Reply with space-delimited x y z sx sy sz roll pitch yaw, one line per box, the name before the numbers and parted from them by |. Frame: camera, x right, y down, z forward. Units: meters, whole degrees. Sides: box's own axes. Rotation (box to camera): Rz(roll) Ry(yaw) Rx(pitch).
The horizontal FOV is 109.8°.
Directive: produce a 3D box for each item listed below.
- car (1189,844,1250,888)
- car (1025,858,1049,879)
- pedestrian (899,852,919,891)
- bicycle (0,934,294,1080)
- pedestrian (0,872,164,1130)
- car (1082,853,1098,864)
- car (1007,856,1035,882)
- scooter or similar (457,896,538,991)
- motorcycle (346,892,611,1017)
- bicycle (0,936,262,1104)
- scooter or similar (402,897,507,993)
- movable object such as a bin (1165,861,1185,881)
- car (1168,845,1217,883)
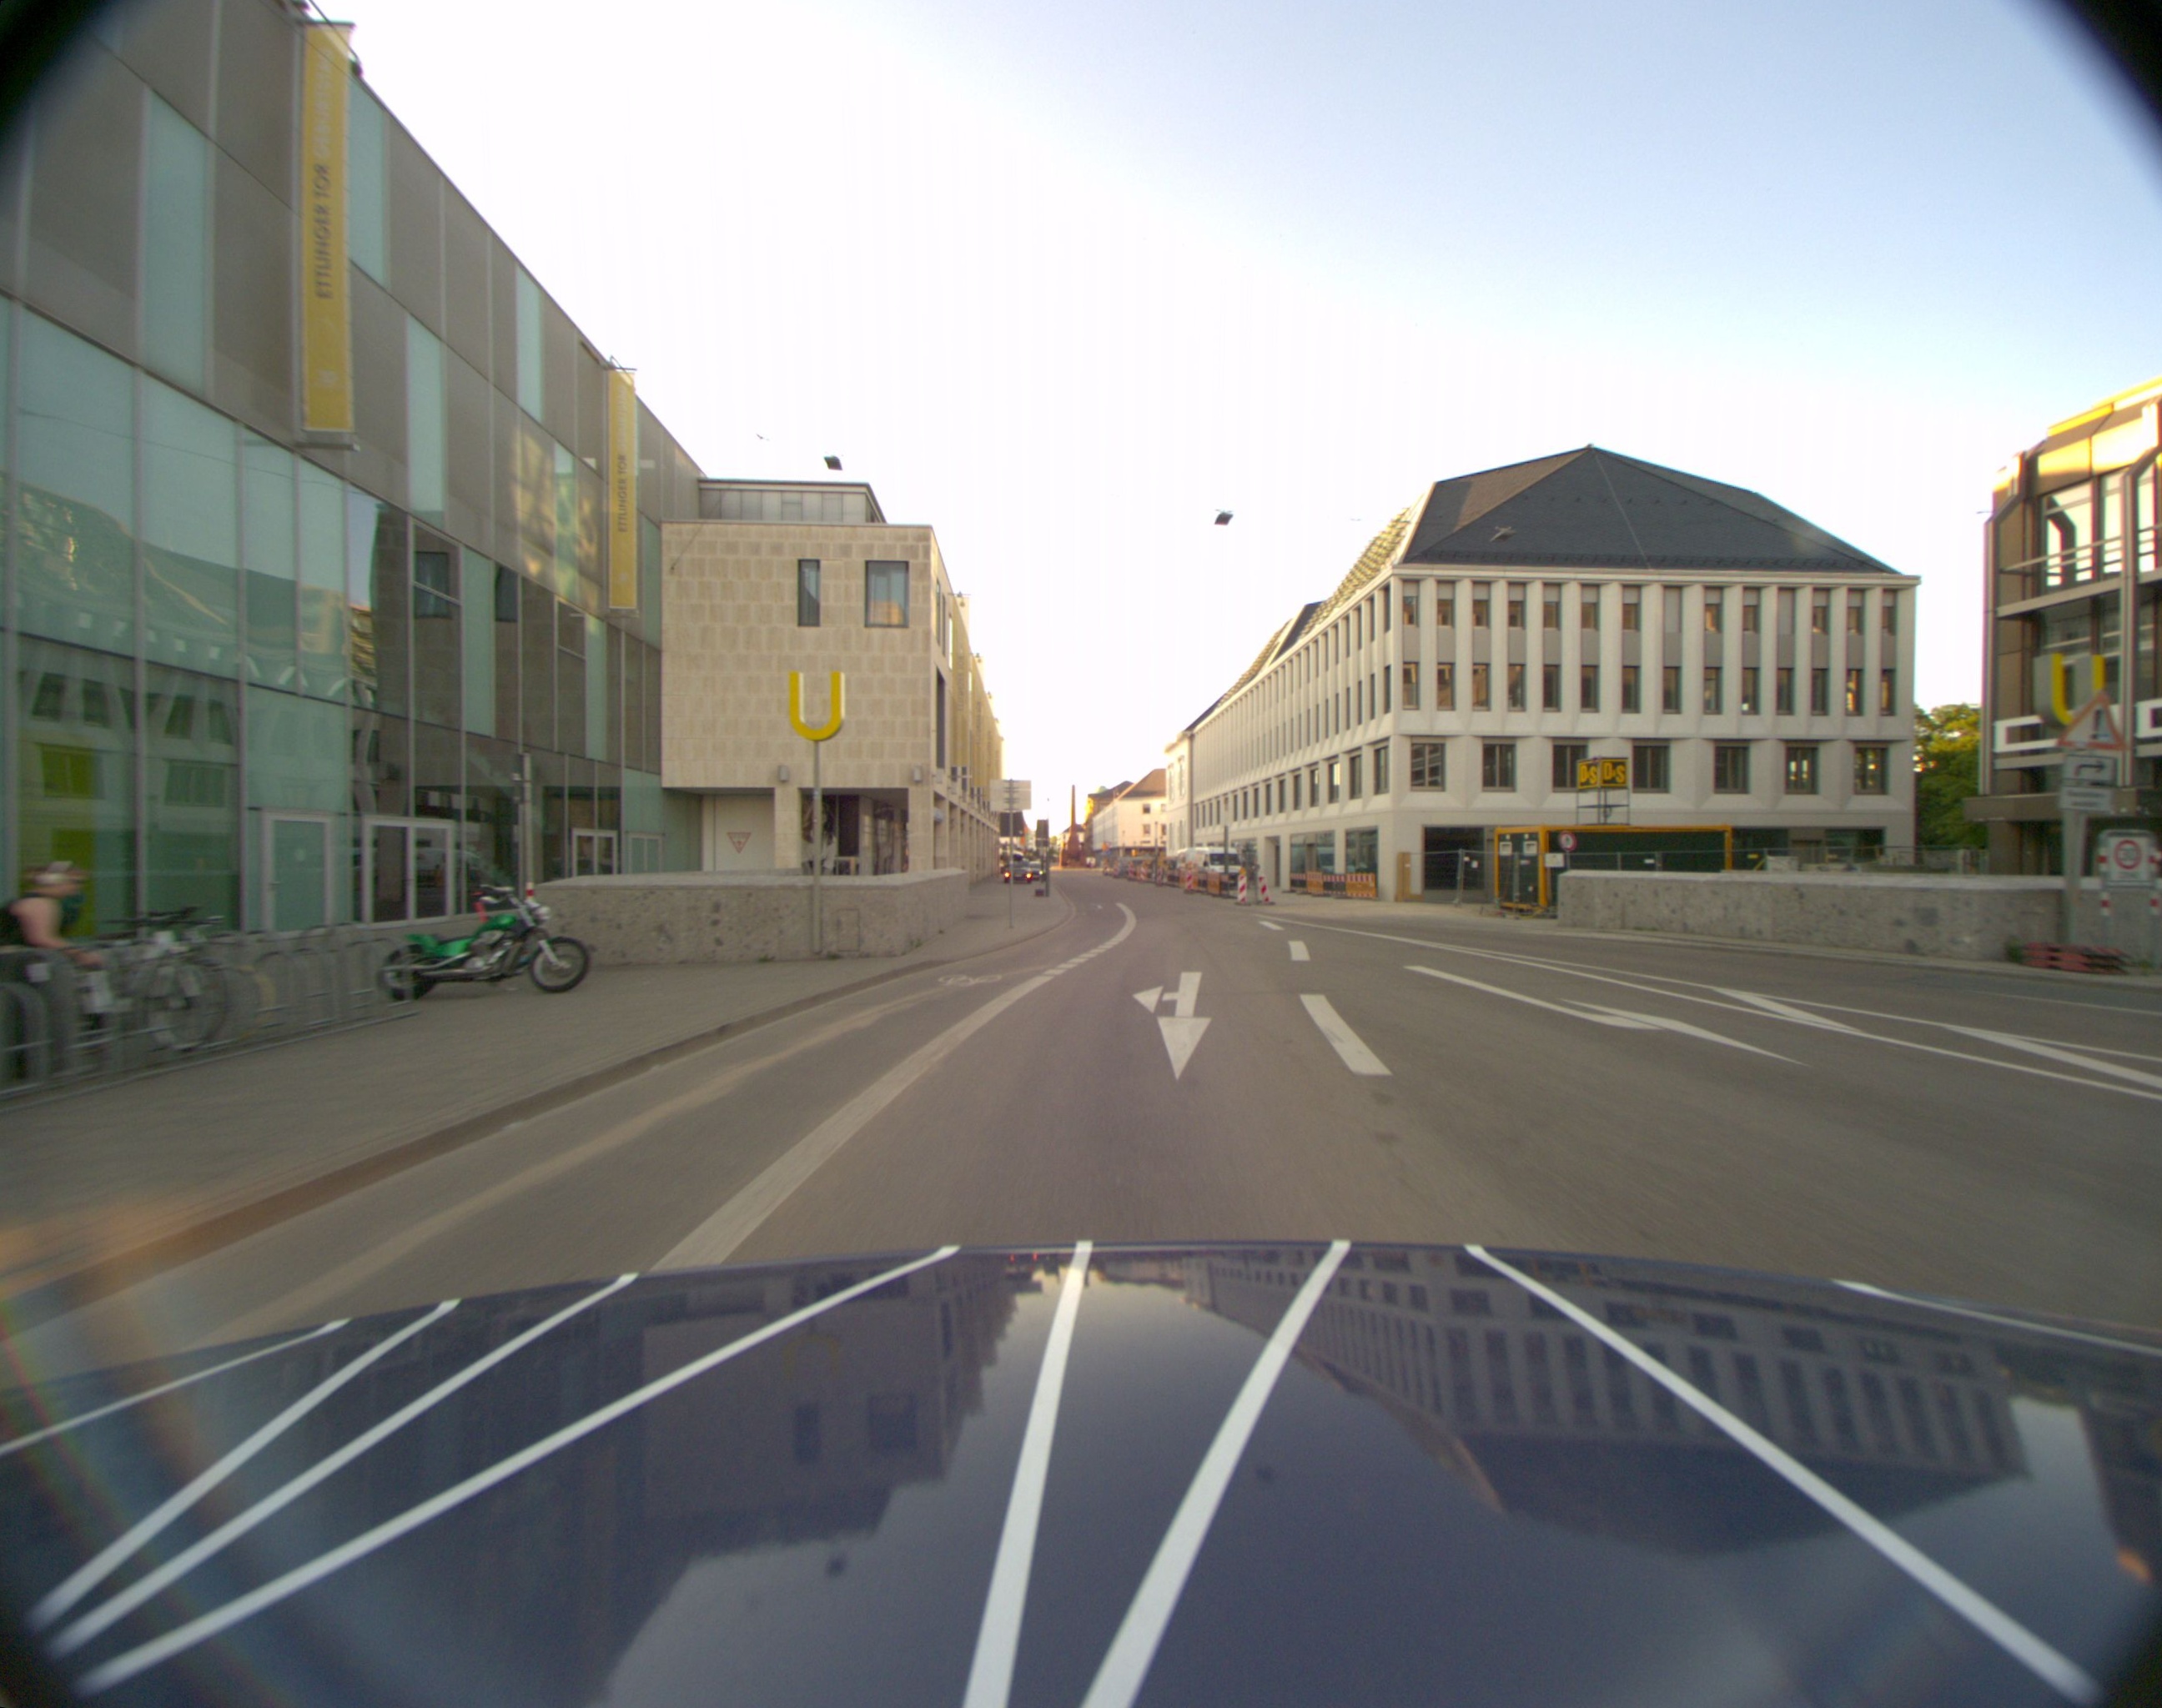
car | 8.077 0.657 45.010 2.180 2.456 5.997 0 0 -4
car | -3.583 1.138 61.387 1.800 1.481 4.191 3 0 -3
pedestrian | -6.931 0.703 30.661 0.635 1.533 0.775 0 1 -4
bicycle | -7.930 1.274 6.447 1.992 1.123 0.516 0 0 2
pedestrian | -7.633 1.003 5.566 0.837 1.725 0.819 0 0 4
car | 1.611 0.804 135.237 2.022 1.815 4.456 0 0 -10
car | -4.149 0.997 52.876 1.773 1.628 4.056 3 0 -3
scooter or similar | -8.286 1.248 10.820 0.398 1.250 0.869 -1 0 8
motorcycle | -7.008 1.137 8.965 2.305 1.325 0.907 0 0 -6
bicycle | -7.597 1.253 5.876 1.992 1.172 0.516 0 1 2
scooter or similar | -8.897 1.263 10.816 1.119 1.250 0.398 -1 1 -41
movable object such as a bin | 6.992 1.246 56.535 1.047 1.457 1.392 -1 1 -15
car | 7.632 0.644 52.448 2.180 2.456 5.997 0 0 -3
